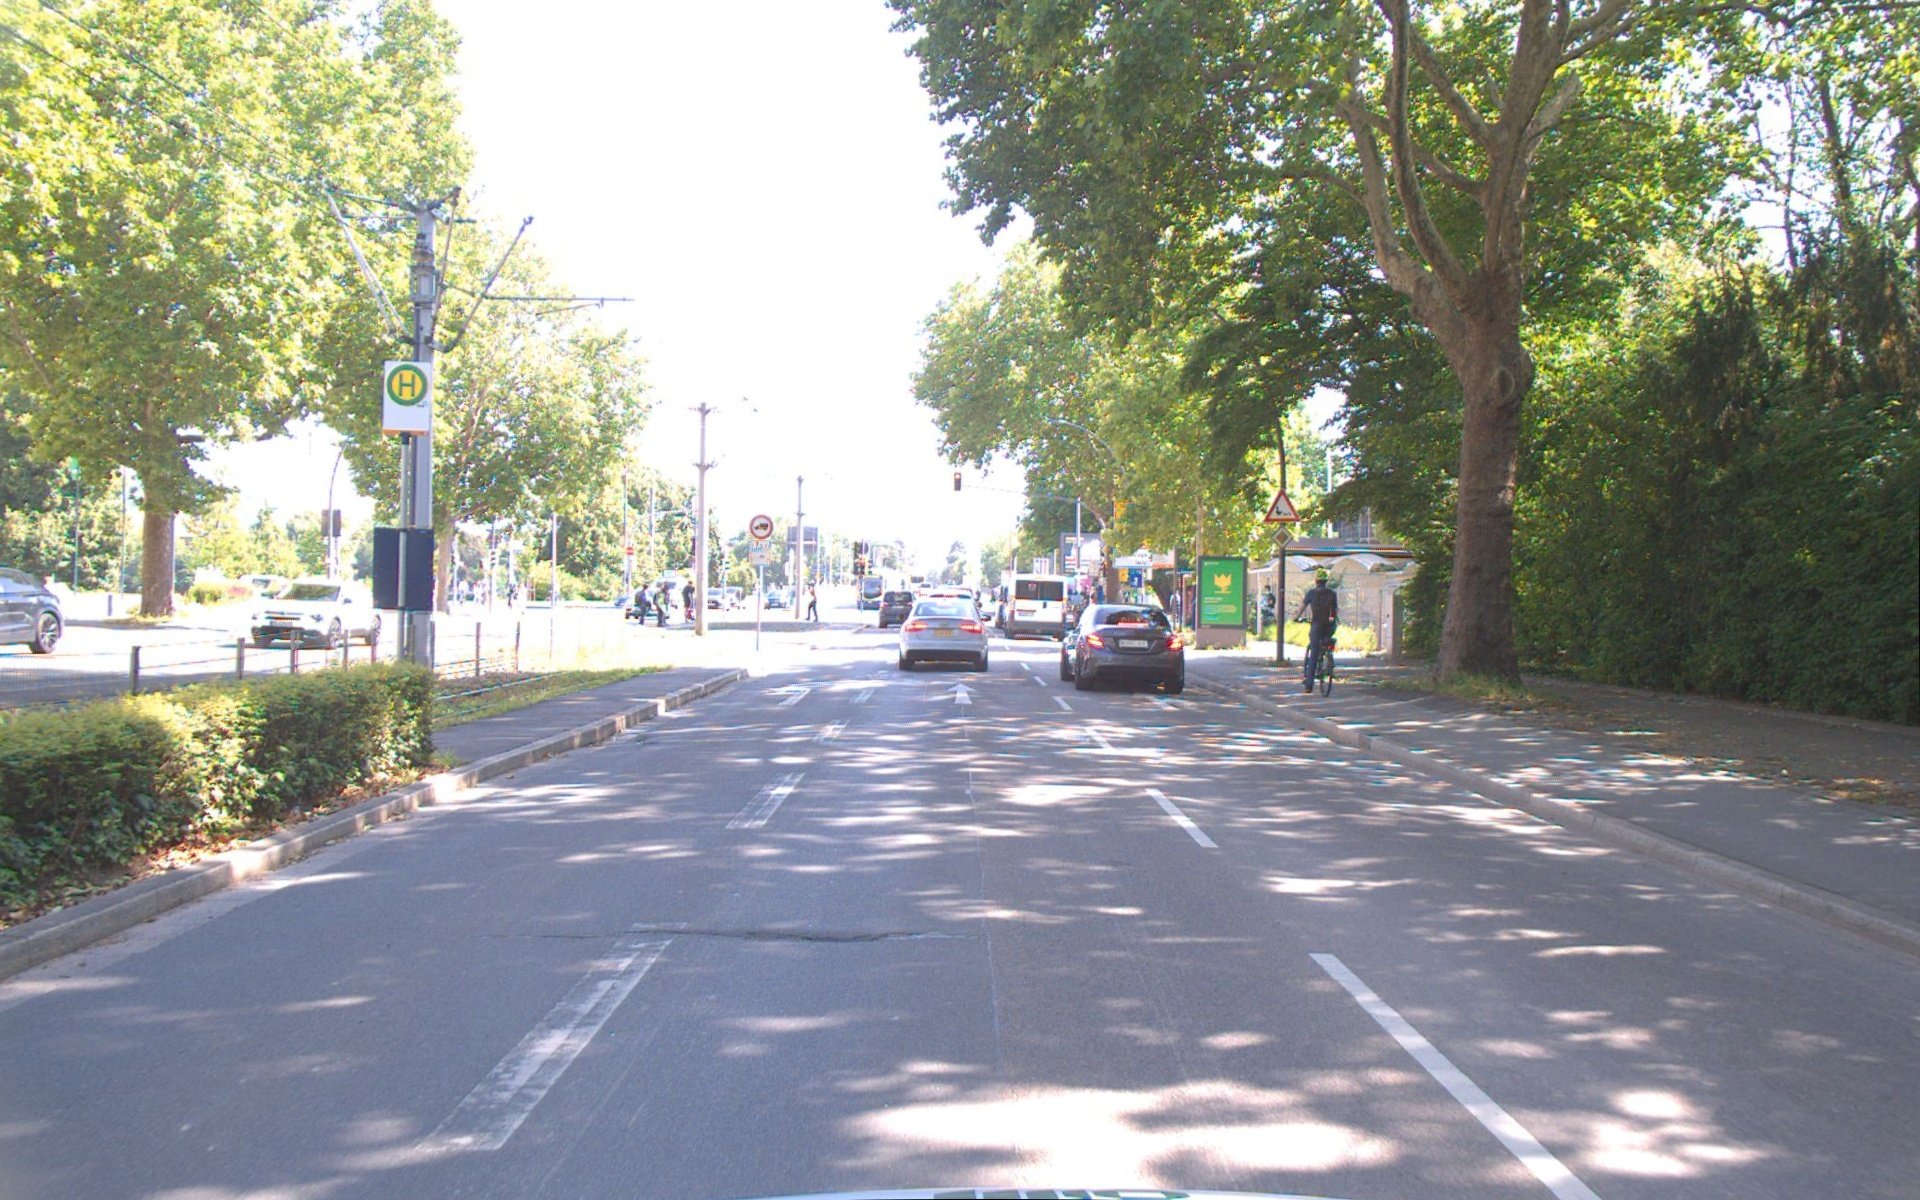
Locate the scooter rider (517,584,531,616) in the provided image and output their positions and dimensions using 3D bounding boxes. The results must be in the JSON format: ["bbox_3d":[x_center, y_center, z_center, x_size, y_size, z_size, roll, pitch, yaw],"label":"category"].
[{"bbox_3d":[-22.338,-0.001,84.773,0.496,1.660,0.566,1,0,0],"label":"scooter rider"}]

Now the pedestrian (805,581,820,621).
[{"bbox_3d":[-7.279,0.031,81.741,0.611,1.952,0.689,1,0,0],"label":"pedestrian"}]

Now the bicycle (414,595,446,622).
[{"bbox_3d":[-21.777,0.341,68.010,0.653,1.113,1.884,1,0,0],"label":"bicycle"}]

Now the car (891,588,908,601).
[{"bbox_3d":[-8.021,-0.674,219.401,1.832,1.637,4.001,1,0,2],"label":"car"}]

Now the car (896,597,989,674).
[{"bbox_3d":[-0.340,0.683,33.730,1.748,1.445,3.885,1,0,0],"label":"car"}]

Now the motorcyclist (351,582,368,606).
[{"bbox_3d":[-34.115,-0.350,93.987,0.737,1.337,0.604,1,0,0],"label":"motorcyclist"}]

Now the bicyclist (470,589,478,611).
[{"bbox_3d":[-28.984,-0.010,98.650,0.378,1.334,0.464,1,0,-10],"label":"bicyclist"}]

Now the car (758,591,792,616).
[{"bbox_3d":[-13.547,0.223,121.304,1.953,1.764,4.000,1,0,0],"label":"car"}]

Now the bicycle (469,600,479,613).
[{"bbox_3d":[-28.989,0.376,98.640,0.412,0.761,1.143,1,0,-10],"label":"bicycle"}]

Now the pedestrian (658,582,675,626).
[{"bbox_3d":[-11.657,0.161,65.677,0.482,1.708,0.643,1,0,0],"label":"pedestrian"}]

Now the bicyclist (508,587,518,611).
[{"bbox_3d":[-26.369,-0.058,97.593,0.473,1.441,0.587,1,0,-26],"label":"bicyclist"}]

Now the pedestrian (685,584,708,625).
[{"bbox_3d":[-11.416,0.189,71.698,0.758,1.764,0.755,1,0,8],"label":"pedestrian"}]

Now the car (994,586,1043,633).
[{"bbox_3d":[2.644,0.409,75.831,2.029,2.034,4.058,1,0,0],"label":"car"}]

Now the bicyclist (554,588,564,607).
[{"bbox_3d":[-28.400,-0.149,117.178,0.464,1.314,0.496,1,0,29],"label":"bicyclist"}]

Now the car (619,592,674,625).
[{"bbox_3d":[-15.071,0.402,79.779,1.760,1.514,4.385,1,0,0],"label":"car"}]

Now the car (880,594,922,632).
[{"bbox_3d":[-2.653,0.564,74.699,1.694,1.659,4.000,1,0,0],"label":"car"}]

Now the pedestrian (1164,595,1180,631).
[{"bbox_3d":[11.023,0.667,86.070,0.761,1.819,0.764,1,0,10],"label":"pedestrian"}]

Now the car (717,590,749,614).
[{"bbox_3d":[-16.289,0.113,118.722,1.727,1.637,3.860,1,0,0],"label":"car"}]

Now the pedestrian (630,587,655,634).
[{"bbox_3d":[-11.411,0.379,59.407,0.748,1.651,0.590,2,0,-26],"label":"pedestrian"}]

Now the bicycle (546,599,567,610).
[{"bbox_3d":[-28.515,0.311,116.980,0.482,0.744,1.619,1,0,28],"label":"bicycle"}]

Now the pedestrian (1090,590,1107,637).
[{"bbox_3d":[5.867,0.580,70.309,0.622,1.980,0.719,1,0,0],"label":"pedestrian"}]

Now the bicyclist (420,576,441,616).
[{"bbox_3d":[-21.768,-0.156,68.038,0.563,1.632,0.838,1,0,0],"label":"bicyclist"}]

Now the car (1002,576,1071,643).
[{"bbox_3d":[2.685,0.317,58.996,2.184,2.250,4.161,1,0,0],"label":"car"}]

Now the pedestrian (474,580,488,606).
[{"bbox_3d":[-29.681,-0.415,102.568,0.610,1.569,0.782,1,0,-1],"label":"pedestrian"}]

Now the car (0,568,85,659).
[{"bbox_3d":[-18.309,0.228,30.451,1.792,1.652,4.896,1,0,0],"label":"car"}]

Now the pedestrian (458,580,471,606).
[{"bbox_3d":[-30.693,-0.430,102.504,0.610,1.569,0.644,1,0,-1],"label":"pedestrian"}]

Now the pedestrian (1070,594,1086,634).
[{"bbox_3d":[5.128,0.619,72.000,0.590,1.724,0.953,-1,0,0],"label":"pedestrian"}]

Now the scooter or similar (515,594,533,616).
[{"bbox_3d":[-22.344,0.261,84.763,0.536,1.132,1.248,1,0,0],"label":"scooter or similar"}]

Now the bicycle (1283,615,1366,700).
[{"bbox_3d":[5.365,0.823,24.474,0.700,1.168,2.178,-1,0,-1],"label":"bicycle"}]

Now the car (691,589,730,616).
[{"bbox_3d":[-15.941,0.181,105.719,1.832,1.637,4.000,1,0,0],"label":"car"}]

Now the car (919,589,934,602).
[{"bbox_3d":[-4.430,-0.588,219.370,1.832,1.637,4.001,1,0,2],"label":"car"}]

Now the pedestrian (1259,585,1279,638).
[{"bbox_3d":[11.470,0.430,61.392,0.601,1.929,0.597,1,0,-3],"label":"pedestrian"}]

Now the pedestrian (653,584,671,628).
[{"bbox_3d":[-11.699,0.232,64.901,0.580,1.675,0.554,1,0,0],"label":"pedestrian"}]

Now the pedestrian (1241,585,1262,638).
[{"bbox_3d":[10.785,0.426,61.253,0.601,1.929,0.694,1,0,-3],"label":"pedestrian"}]

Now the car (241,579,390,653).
[{"bbox_3d":[-14.859,0.346,38.381,1.773,1.590,4.304,1,0,0],"label":"car"}]

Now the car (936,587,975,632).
[{"bbox_3d":[-0.197,0.413,74.861,1.694,1.935,4.000,1,0,0],"label":"car"}]

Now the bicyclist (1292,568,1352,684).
[{"bbox_3d":[5.342,0.376,24.469,0.621,1.677,0.979,-1,0,-1],"label":"bicyclist"}]

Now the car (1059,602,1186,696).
[{"bbox_3d":[2.715,0.787,28.390,1.746,1.445,4.000,1,0,0],"label":"car"}]

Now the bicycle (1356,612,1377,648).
[{"bbox_3d":[13.752,1.015,55.986,0.381,1.201,1.173,1,0,0],"label":"bicycle"}]

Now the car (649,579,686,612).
[{"bbox_3d":[-22.216,-0.364,125.662,2.071,2.424,4.000,1,0,0],"label":"car"}]

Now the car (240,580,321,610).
[{"bbox_3d":[-37.811,-0.264,92.087,3.768,1.576,1.769,2,0,0],"label":"car"}]

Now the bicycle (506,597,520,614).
[{"bbox_3d":[-26.376,0.299,97.597,0.478,0.978,1.641,1,0,-26],"label":"bicycle"}]

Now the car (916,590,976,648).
[{"bbox_3d":[-0.411,0.546,49.453,1.694,1.633,3.885,1,0,0],"label":"car"}]

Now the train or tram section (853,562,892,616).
[{"bbox_3d":[-6.958,-0.843,132.289,2.563,4.085,7.749,1,0,0],"label":"train or tram section"}]
